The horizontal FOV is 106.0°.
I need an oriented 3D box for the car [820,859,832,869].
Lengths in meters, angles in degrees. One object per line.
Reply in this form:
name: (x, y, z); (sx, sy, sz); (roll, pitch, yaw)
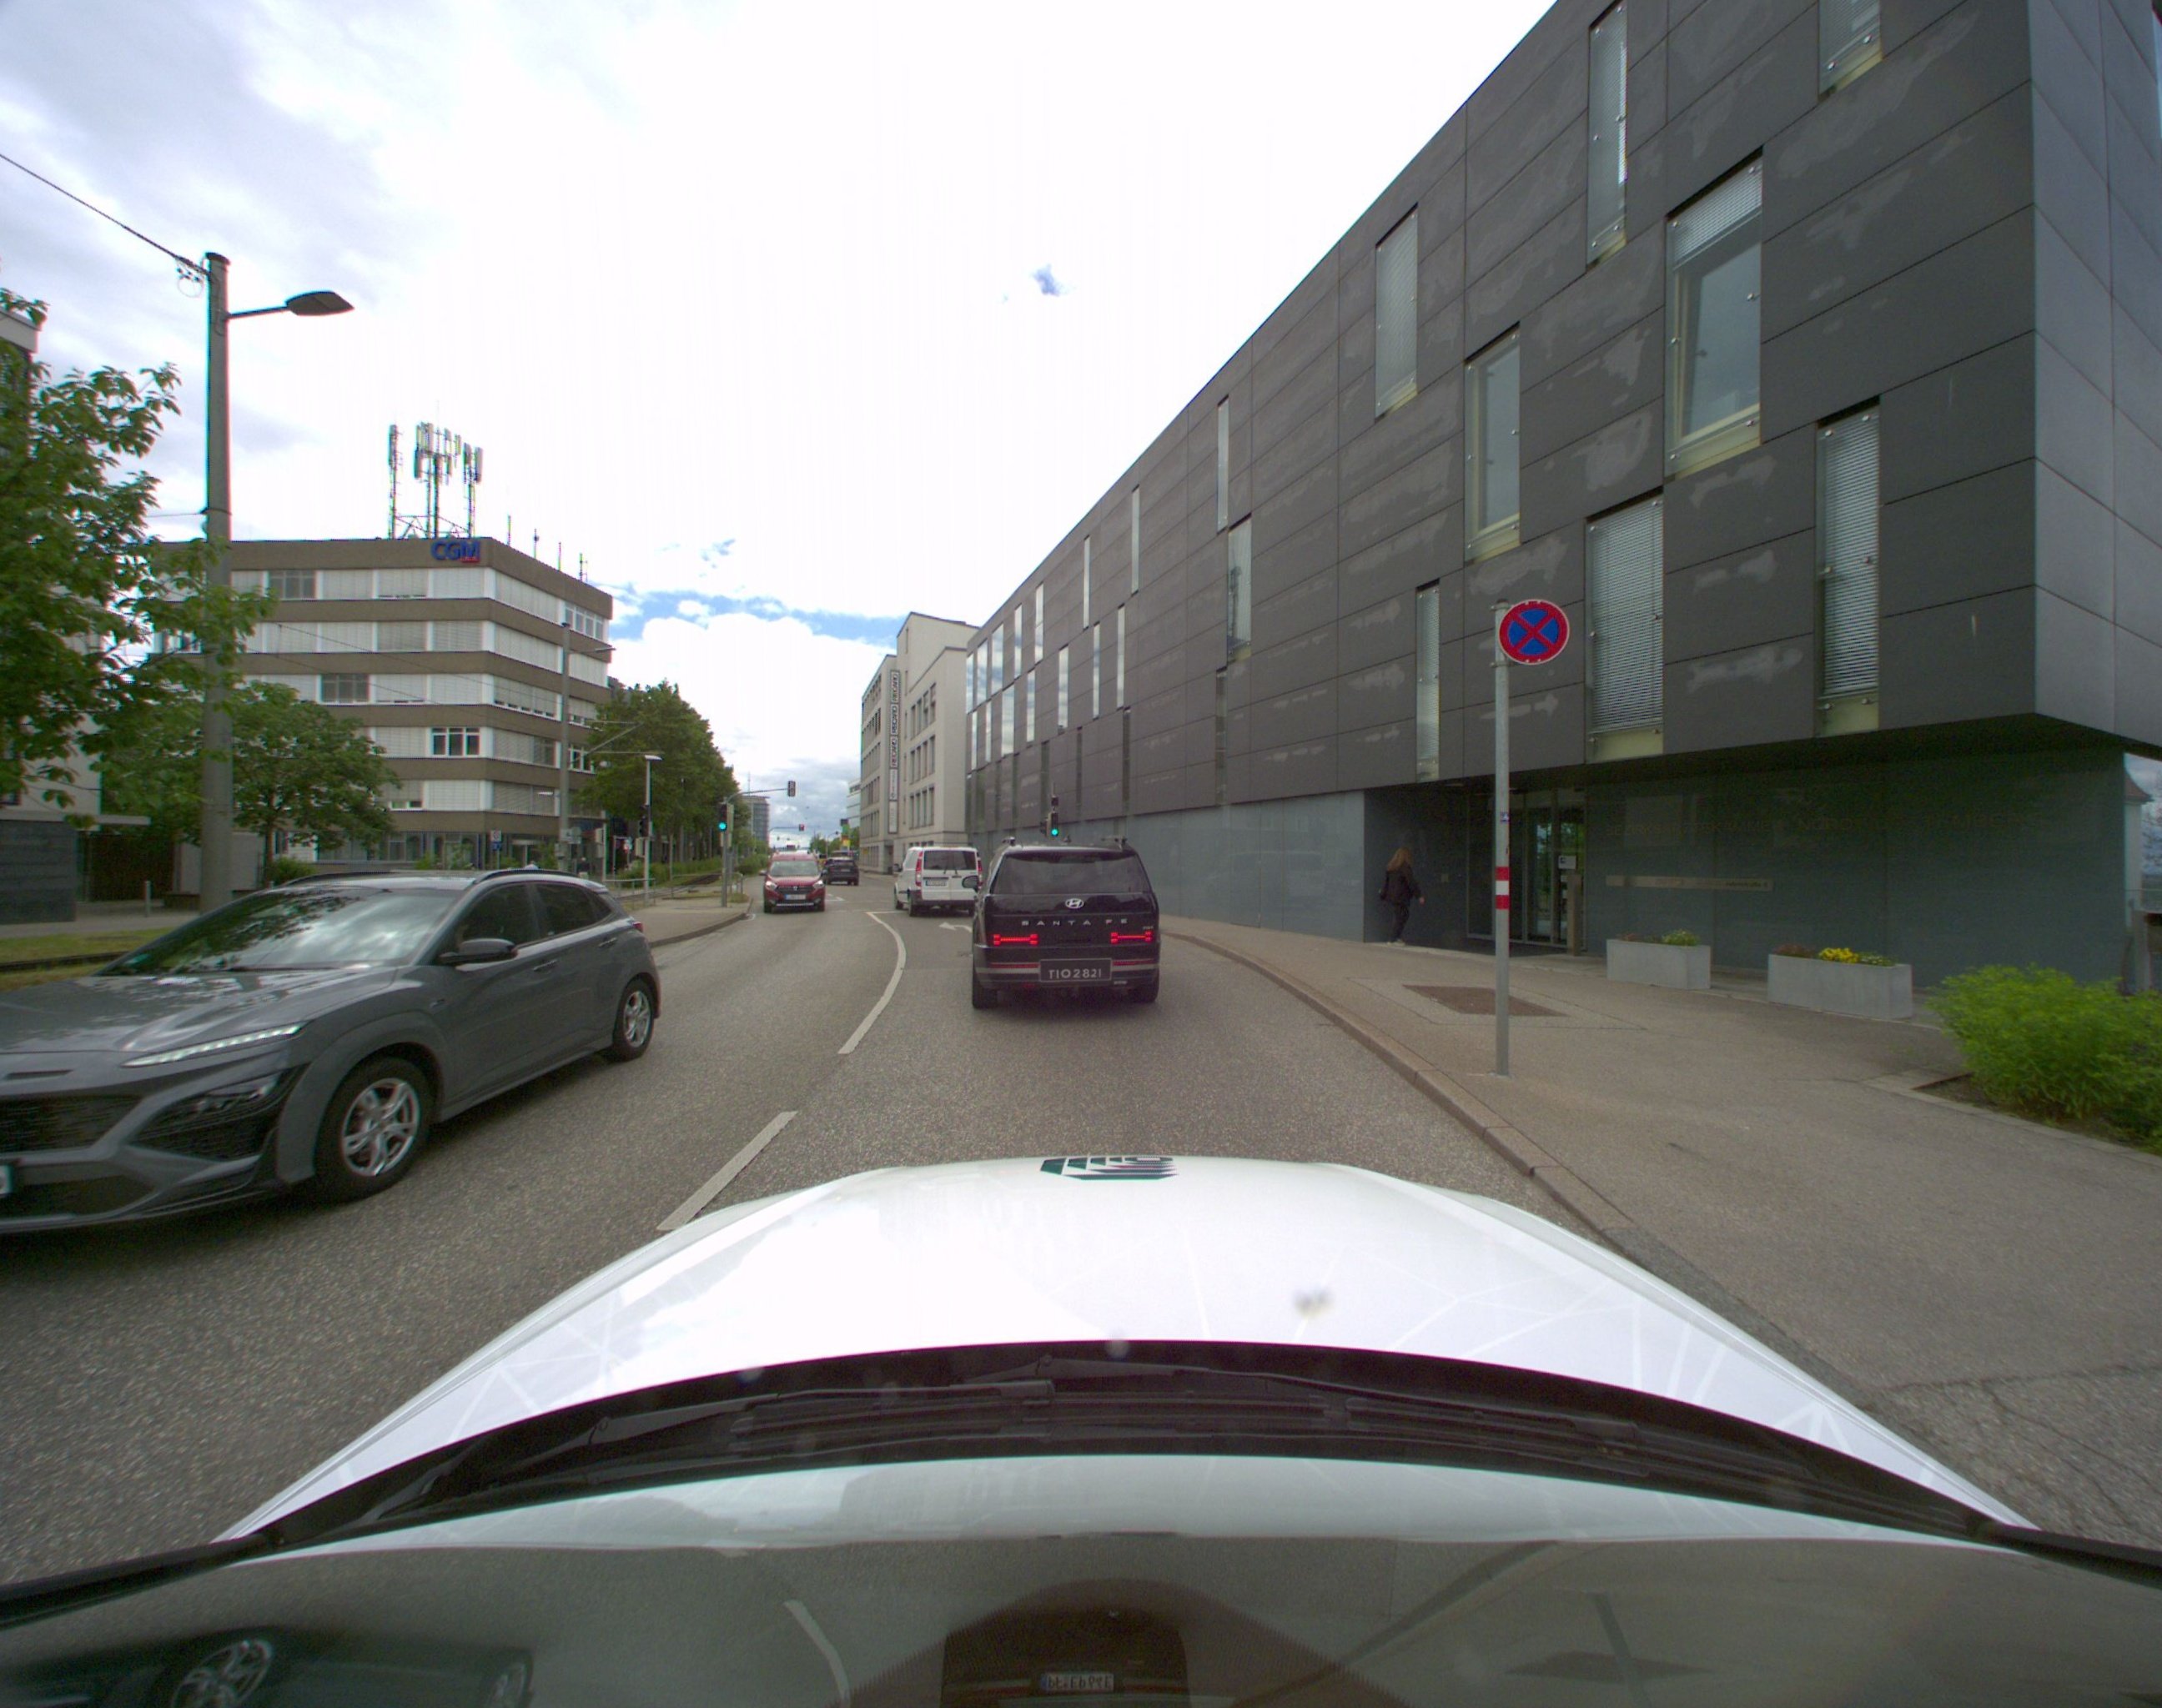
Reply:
car: (-41.924, 1.567, 133.967); (1.764, 1.609, 4.163); (0, 0, -18)

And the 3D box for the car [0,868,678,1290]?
car: (-4.212, 0.871, 4.972); (1.765, 1.479, 3.992); (-2, 0, -5)

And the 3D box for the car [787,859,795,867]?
car: (-65.880, 1.985, 185.017); (1.672, 1.882, 3.973); (0, -1, -20)

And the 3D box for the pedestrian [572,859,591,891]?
pedestrian: (-27.173, 1.110, 44.295); (0.690, 1.705, 0.678); (-1, 0, -19)

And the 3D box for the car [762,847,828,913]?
car: (-8.888, 0.753, 25.135); (1.687, 1.808, 4.319); (-1, 0, -22)

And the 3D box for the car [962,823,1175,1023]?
car: (-0.336, 0.620, 9.469); (1.907, 1.749, 4.386); (-1, 0, -6)

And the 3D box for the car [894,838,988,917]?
car: (-4.081, 0.617, 23.133); (1.937, 1.994, 4.506); (0, 0, -19)

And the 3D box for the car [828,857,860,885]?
car: (-14.327, 1.014, 49.108); (1.763, 1.609, 4.164); (0, 0, -17)

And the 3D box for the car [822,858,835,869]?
car: (-36.208, 1.386, 116.811); (1.764, 1.609, 4.163); (0, 0, -18)

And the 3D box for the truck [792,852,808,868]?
truck: (-45.342, 0.986, 131.412); (2.174, 2.616, 5.754); (0, 0, -22)

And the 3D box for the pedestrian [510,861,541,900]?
pedestrian: (-22.714, 1.078, 33.323); (0.851, 1.526, 0.988); (-1, 0, -22)

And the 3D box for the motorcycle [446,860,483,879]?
motorcycle: (-37.761, 0.952, 49.858); (1.871, 1.199, 0.569); (0, -1, 3)

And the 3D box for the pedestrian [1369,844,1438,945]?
pedestrian: (5.583, 0.688, 14.129); (0.862, 1.694, 0.711); (0, -1, -10)
